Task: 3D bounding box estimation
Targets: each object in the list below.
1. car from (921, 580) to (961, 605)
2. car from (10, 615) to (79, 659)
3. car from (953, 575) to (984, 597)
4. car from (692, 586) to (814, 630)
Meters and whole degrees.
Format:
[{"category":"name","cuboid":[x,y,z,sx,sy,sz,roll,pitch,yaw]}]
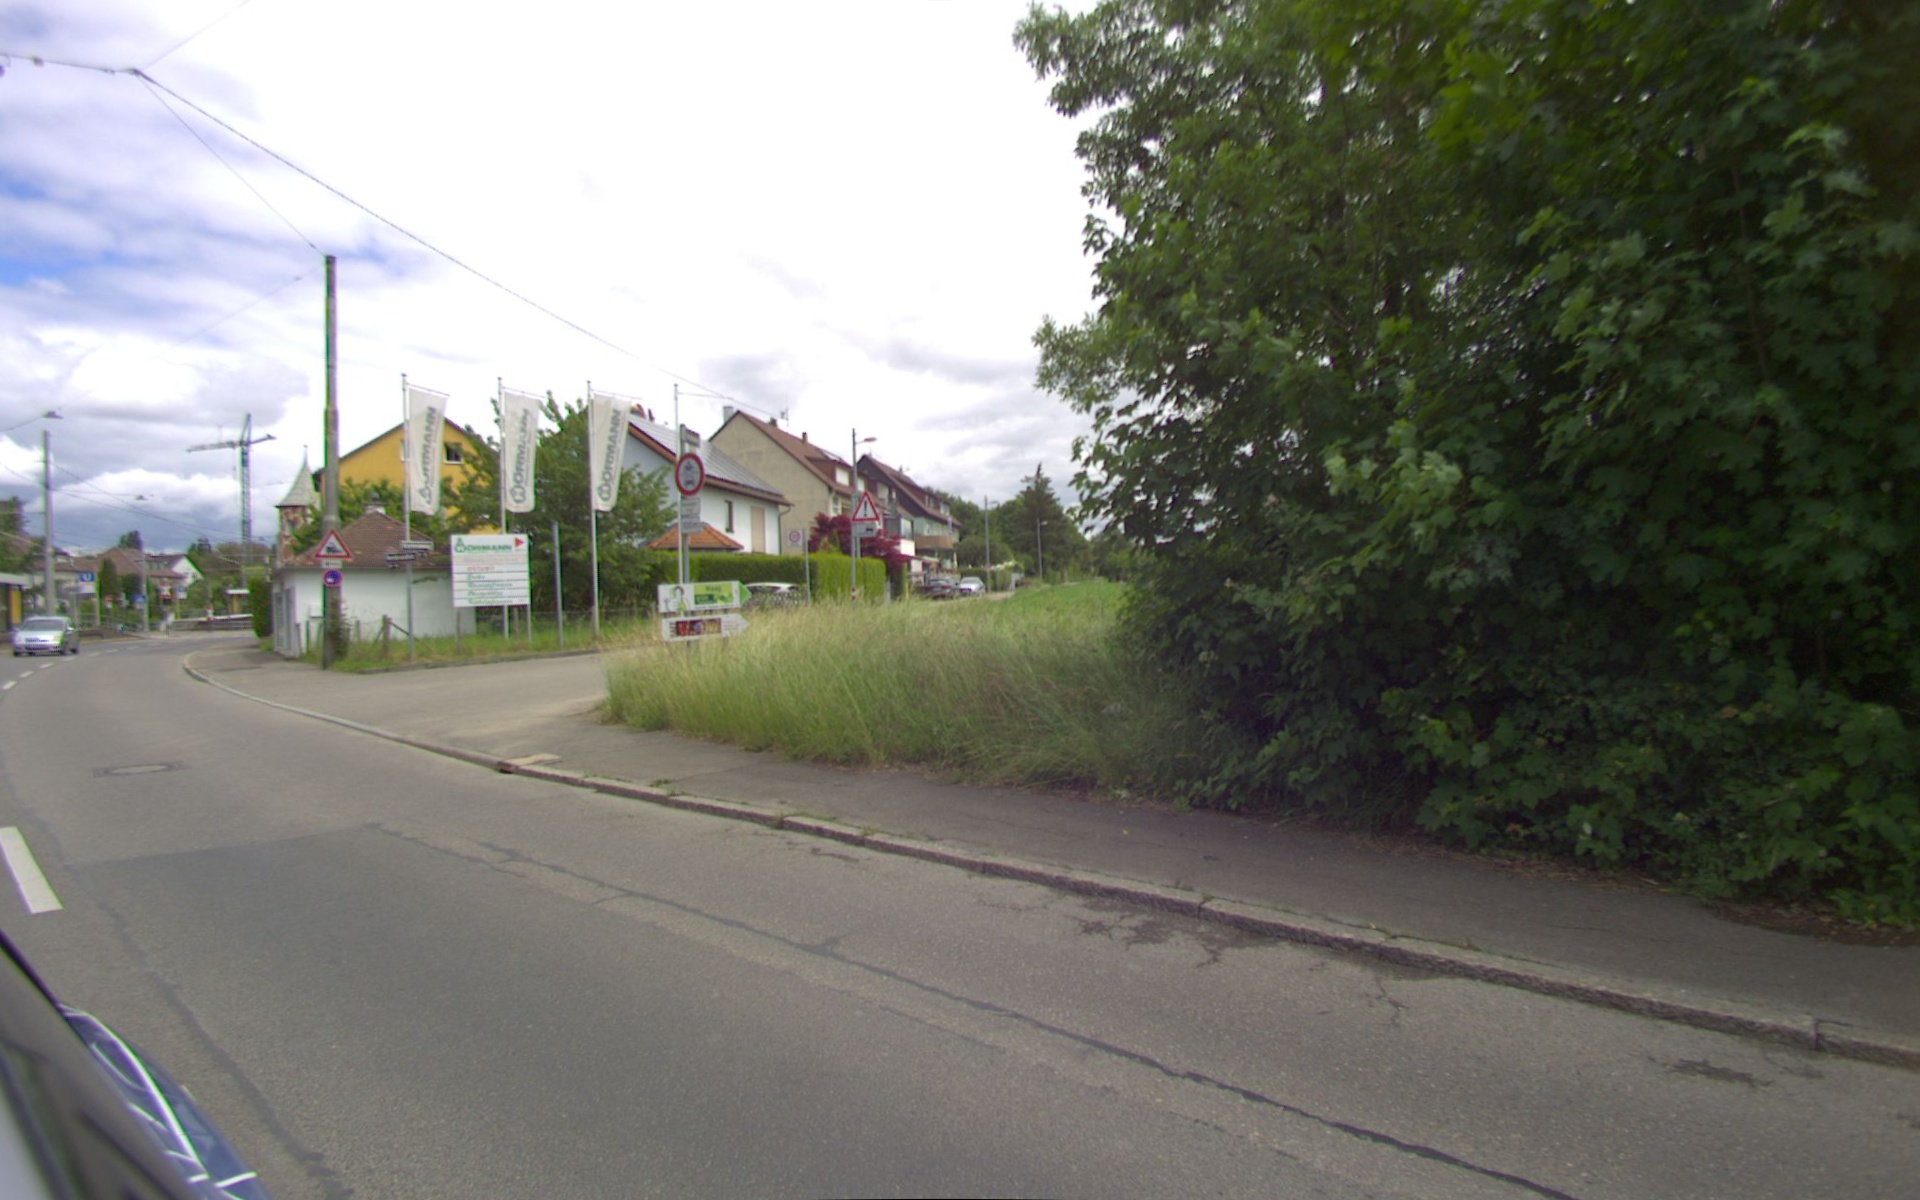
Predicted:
[{"category":"car","cuboid":[-1.140,-0.485,63.196,1.976,1.493,3.992,-2,1,7]},{"category":"car","cuboid":[-38.262,1.503,42.371,1.707,1.661,4.235,-2,1,-37]},{"category":"car","cuboid":[0.684,-1.007,74.654,1.800,1.550,3.776,-1,0,8]},{"category":"car","cuboid":[-7.624,0.285,37.354,3.963,1.545,1.990,-1,1,16]}]
